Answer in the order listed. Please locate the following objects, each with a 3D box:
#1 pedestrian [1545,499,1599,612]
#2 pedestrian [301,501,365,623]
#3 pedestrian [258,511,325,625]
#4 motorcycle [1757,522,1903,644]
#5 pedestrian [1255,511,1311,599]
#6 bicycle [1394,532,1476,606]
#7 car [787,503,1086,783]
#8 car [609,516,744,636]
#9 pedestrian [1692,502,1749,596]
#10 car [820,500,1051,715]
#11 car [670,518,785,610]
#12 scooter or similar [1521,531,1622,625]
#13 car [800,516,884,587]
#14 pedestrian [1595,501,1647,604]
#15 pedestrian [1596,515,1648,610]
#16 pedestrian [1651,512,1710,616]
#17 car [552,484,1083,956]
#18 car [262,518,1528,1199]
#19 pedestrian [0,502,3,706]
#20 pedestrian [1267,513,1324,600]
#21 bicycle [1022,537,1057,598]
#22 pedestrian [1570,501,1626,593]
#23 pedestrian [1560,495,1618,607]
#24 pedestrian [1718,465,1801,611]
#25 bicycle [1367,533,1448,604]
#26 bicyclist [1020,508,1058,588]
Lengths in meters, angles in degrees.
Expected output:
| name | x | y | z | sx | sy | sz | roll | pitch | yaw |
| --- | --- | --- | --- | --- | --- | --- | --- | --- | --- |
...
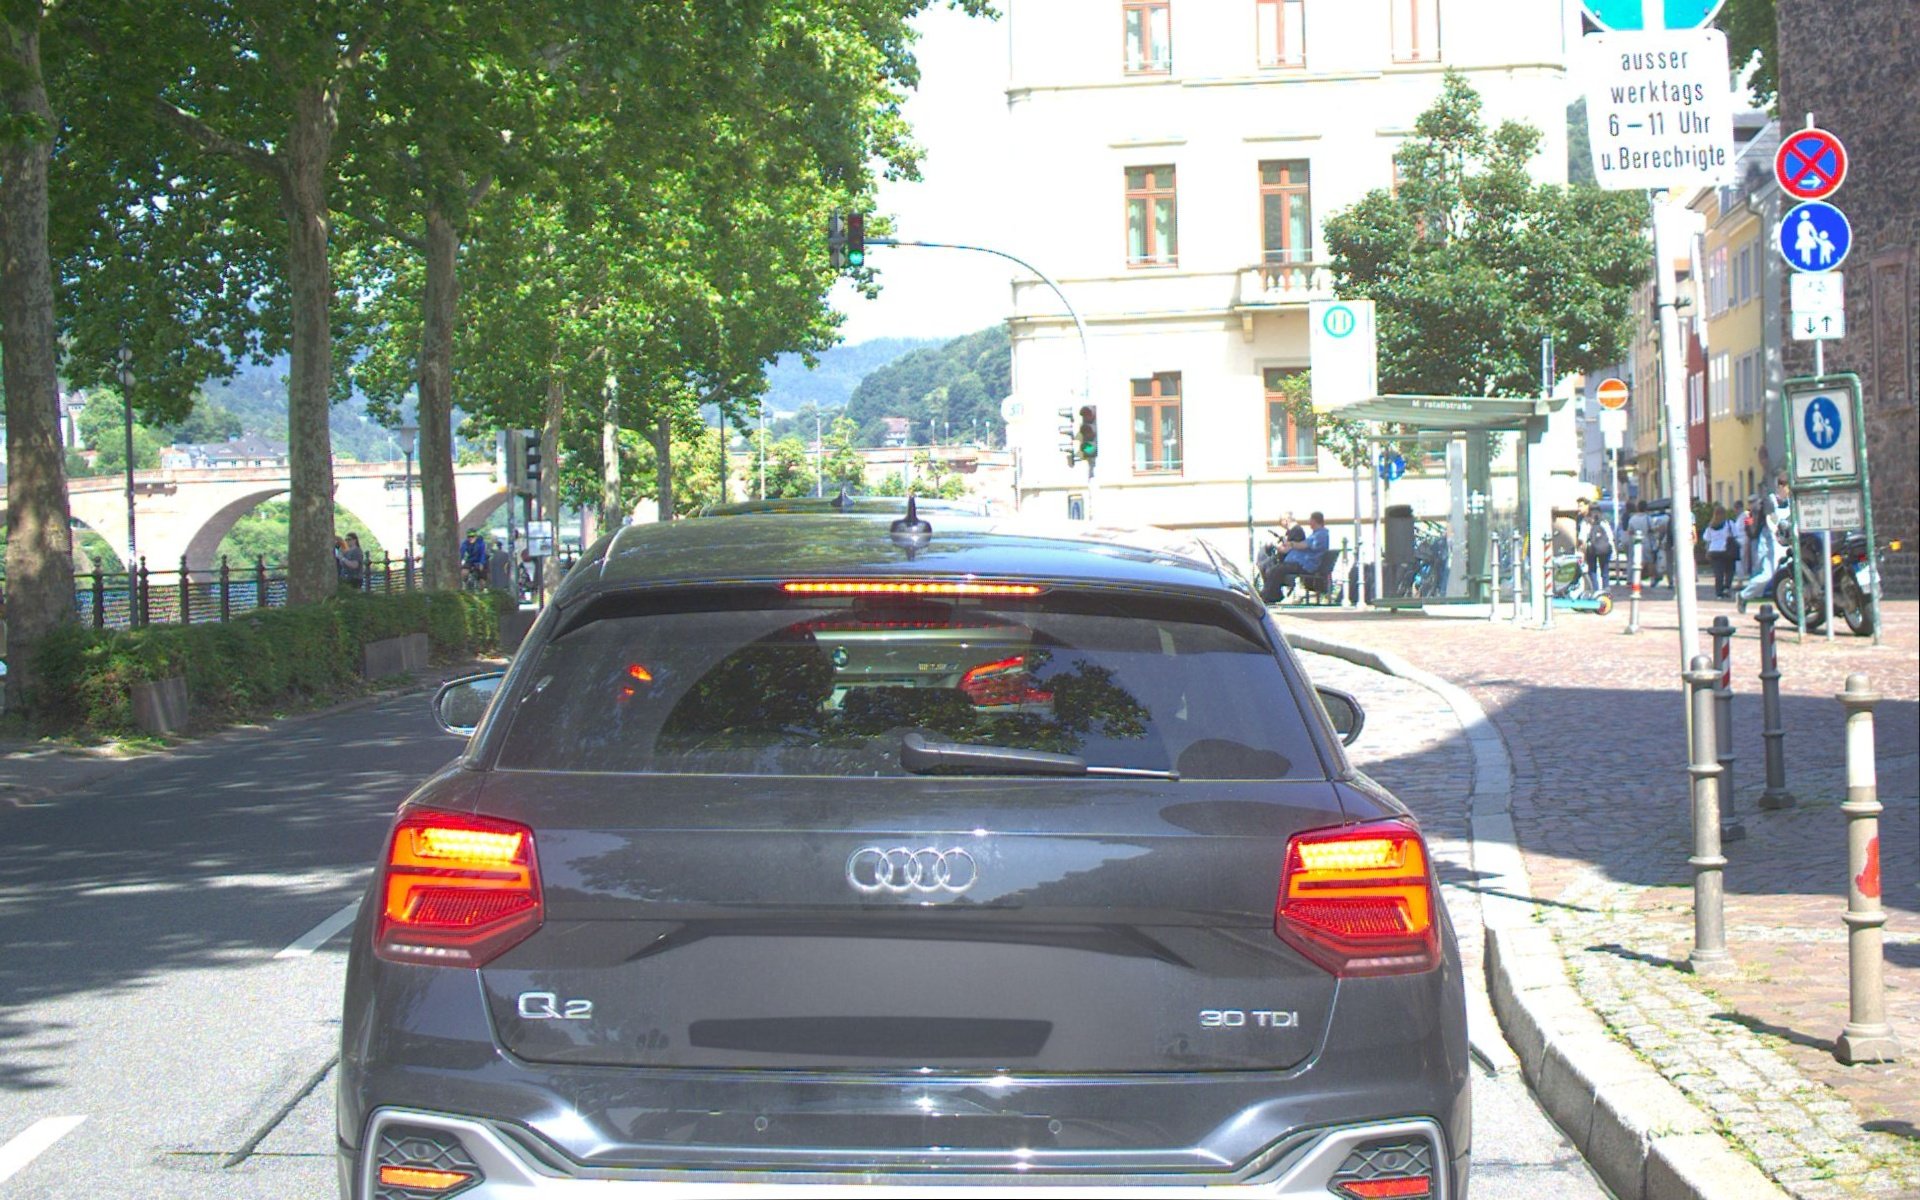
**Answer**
| name | x | y | z | sx | sy | sz | roll | pitch | yaw |
| --- | --- | --- | --- | --- | --- | --- | --- | --- | --- |
| pedestrian | 7.567 | -0.551 | 42.521 | 0.557 | 1.380 | 0.588 | 1 | 0 | 2 |
| pedestrian | -10.399 | -0.626 | 57.025 | 0.911 | 2.007 | 0.585 | 1 | 0 | 4 |
| pedestrian | -10.648 | -0.511 | 54.790 | 0.911 | 1.805 | 0.585 | 1 | 0 | 4 |
| motorcycle | 7.600 | -0.169 | 30.134 | 0.566 | 1.009 | 2.490 | -1 | 1 | -2 |
| pedestrian | 4.590 | -0.639 | 48.903 | 0.663 | 1.227 | 0.641 | 1 | 0 | -6 |
| bicycle | 6.771 | -0.440 | 48.994 | 1.201 | 1.031 | 0.179 | 1 | 0 | -19 |
| car | -0.157 | 0.206 | 21.584 | 1.710 | 1.603 | 3.655 | 0 | 1 | -1 |
| car | -4.260 | -0.394 | 52.157 | 1.673 | 1.654 | 4.223 | -4 | 1 | -1 |
| pedestrian | 13.351 | -0.898 | 60.310 | 0.692 | 1.607 | 0.890 | -2 | 1 | 30 |
| car | -0.218 | 0.017 | 29.030 | 1.794 | 1.676 | 4.000 | 1 | 1 | -1 |
| car | -4.467 | -0.719 | 66.564 | 1.769 | 1.654 | 4.000 | -3 | 1 | 2 |
| scooter or similar | 7.010 | -0.255 | 39.420 | 1.088 | 1.062 | 0.323 | 1 | 0 | -2 |
| car | -3.080 | -1.269 | 90.530 | 1.993 | 1.800 | 4.000 | 1 | 0 | 1 |
| pedestrian | 12.950 | -0.928 | 67.337 | 0.839 | 2.007 | 0.738 | 1 | 0 | 0 |
| pedestrian | 14.228 | -0.807 | 73.891 | 0.944 | 2.007 | 0.807 | 1 | 0 | 0 |
| pedestrian | 14.035 | -0.702 | 66.999 | 0.940 | 2.007 | 0.807 | 1 | 0 | 0 |
| car | -0.508 | 0.375 | 13.466 | 1.793 | 1.589 | 3.399 | 1 | 1 | -1 |
| car | -0.116 | 0.613 | 6.601 | 1.743 | 1.504 | 3.647 | 1 | 1 | -1 |
| pedestrian | -9.127 | 0.037 | 31.618 | 0.534 | 1.880 | 0.436 | 0 | 1 | -1 |
| pedestrian | 4.702 | -0.606 | 48.188 | 0.663 | 1.207 | 0.641 | 1 | 0 | -6 |
| bicycle | 1.446 | -0.590 | 62.543 | 0.437 | 1.082 | 1.677 | 1 | 0 | -5 |
| pedestrian | 10.306 | -0.856 | 55.539 | 0.638 | 1.439 | 0.799 | -2 | 1 | -7 |
| pedestrian | 10.741 | -0.839 | 58.666 | 0.748 | 1.884 | 0.751 | -1 | 1 | 27 |
| pedestrian | 9.215 | -0.716 | 39.622 | 0.808 | 1.656 | 0.655 | -1 | 1 | 22 |
| bicycle | 6.463 | -0.449 | 49.604 | 1.184 | 1.012 | 0.179 | 1 | 0 | -19 |
| bicyclist | 1.439 | -0.942 | 62.503 | 0.605 | 1.445 | 0.591 | 1 | 0 | -5 |
